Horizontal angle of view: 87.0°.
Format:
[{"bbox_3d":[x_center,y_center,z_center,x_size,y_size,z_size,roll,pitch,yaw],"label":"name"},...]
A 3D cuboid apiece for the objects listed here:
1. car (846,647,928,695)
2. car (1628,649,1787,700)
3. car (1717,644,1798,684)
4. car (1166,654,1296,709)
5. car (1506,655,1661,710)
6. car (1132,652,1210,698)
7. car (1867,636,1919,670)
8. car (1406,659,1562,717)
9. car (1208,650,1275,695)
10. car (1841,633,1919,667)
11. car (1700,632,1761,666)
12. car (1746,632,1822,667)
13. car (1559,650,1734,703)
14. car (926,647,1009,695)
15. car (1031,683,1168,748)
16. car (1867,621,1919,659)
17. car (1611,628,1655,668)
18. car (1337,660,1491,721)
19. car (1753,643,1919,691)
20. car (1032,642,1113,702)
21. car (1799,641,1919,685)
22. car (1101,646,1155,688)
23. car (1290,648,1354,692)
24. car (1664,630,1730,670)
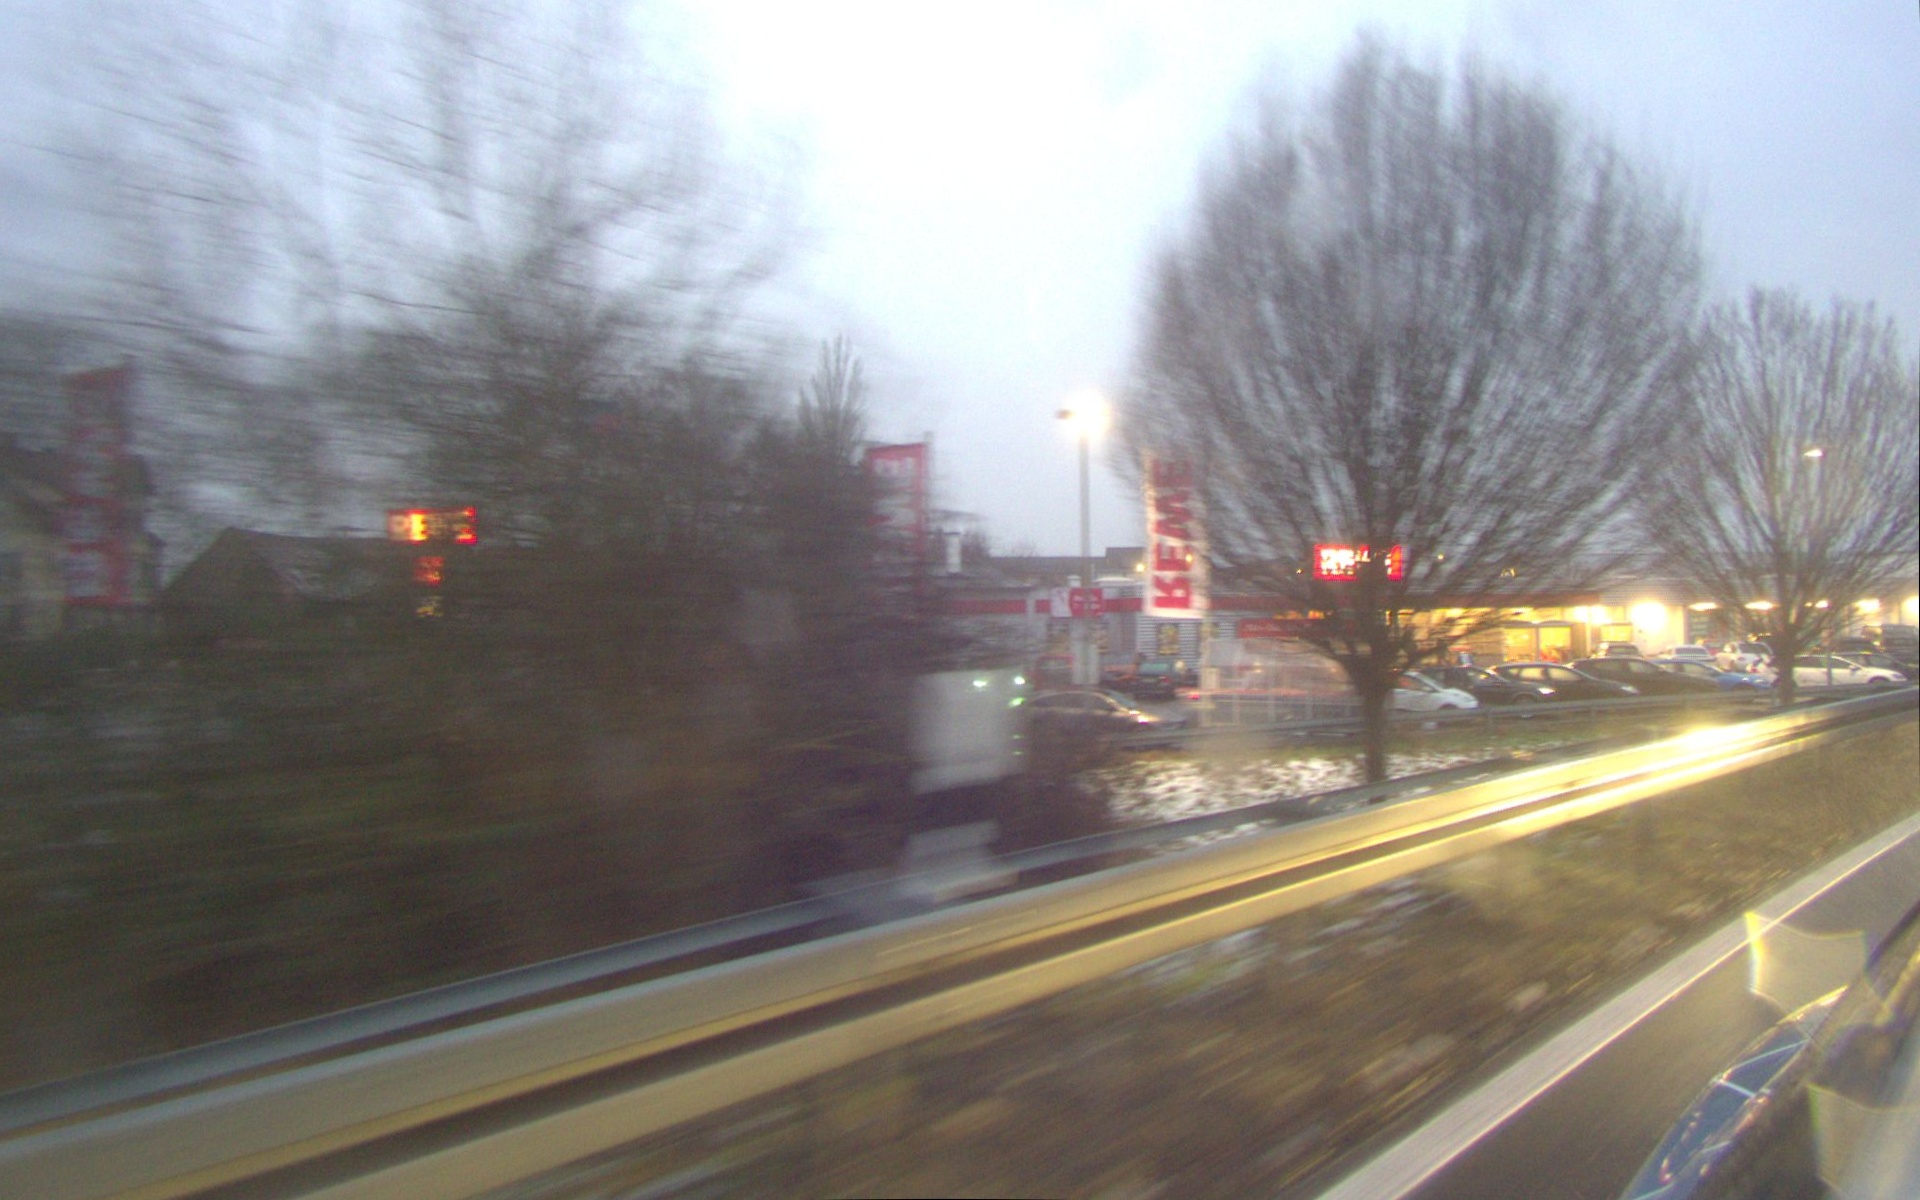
[{"bbox_3d":[-2.846,2.785,40.387,1.554,1.633,3.803,0,0,27],"label":"car"},{"bbox_3d":[25.188,2.475,34.290,4.147,1.414,1.883,0,1,32],"label":"car"},{"bbox_3d":[36.962,2.925,47.040,1.806,1.660,4.433,-1,-2,23],"label":"car"},{"bbox_3d":[9.182,2.726,34.401,3.950,1.622,1.727,0,0,-17],"label":"car"},{"bbox_3d":[19.185,2.502,31.340,3.962,1.438,1.616,0,0,28],"label":"car"},{"bbox_3d":[8.092,2.817,38.556,1.559,1.448,3.713,0,0,35],"label":"car"},{"bbox_3d":[46.883,2.618,50.192,1.699,1.536,3.235,-1,-1,21],"label":"car"},{"bbox_3d":[15.394,2.558,29.891,3.962,1.438,1.616,0,0,28],"label":"car"},{"bbox_3d":[10.897,2.749,38.983,1.556,1.448,3.719,0,0,31],"label":"car"},{"bbox_3d":[43.666,2.347,47.548,3.236,1.555,1.374,-2,-2,35],"label":"car"},{"bbox_3d":[39.273,2.485,51.669,1.710,1.520,3.989,0,0,26],"label":"car"},{"bbox_3d":[42.864,2.527,52.752,1.778,1.615,3.955,0,0,19],"label":"car"},{"bbox_3d":[22.081,2.421,32.781,4.552,1.473,1.909,-1,0,32],"label":"car"},{"bbox_3d":[0.360,2.786,40.454,1.610,1.628,3.796,0,0,31],"label":"car"},{"bbox_3d":[3.503,2.877,25.524,3.177,1.330,1.378,0,0,26],"label":"car"},{"bbox_3d":[52.287,2.172,56.134,1.871,1.983,4.907,-2,-2,29],"label":"car"},{"bbox_3d":[30.142,2.116,45.328,1.588,1.606,3.588,-1,0,34],"label":"car"},{"bbox_3d":[13.101,2.551,29.251,3.962,1.457,1.780,0,0,28],"label":"car"},{"bbox_3d":[31.575,2.368,36.396,4.672,1.414,1.881,0,1,34],"label":"car"},{"bbox_3d":[4.213,2.602,37.353,1.706,1.892,3.997,0,0,27],"label":"car"},{"bbox_3d":[34.033,2.321,37.643,4.151,1.414,1.829,0,1,34],"label":"car"},{"bbox_3d":[7.072,2.769,42.401,1.550,1.504,3.735,0,0,21],"label":"car"},{"bbox_3d":[14.481,2.751,40.390,1.731,1.443,4.271,0,0,29],"label":"car"},{"bbox_3d":[33.135,2.209,45.613,1.789,1.555,4.497,-1,0,29],"label":"car"}]
